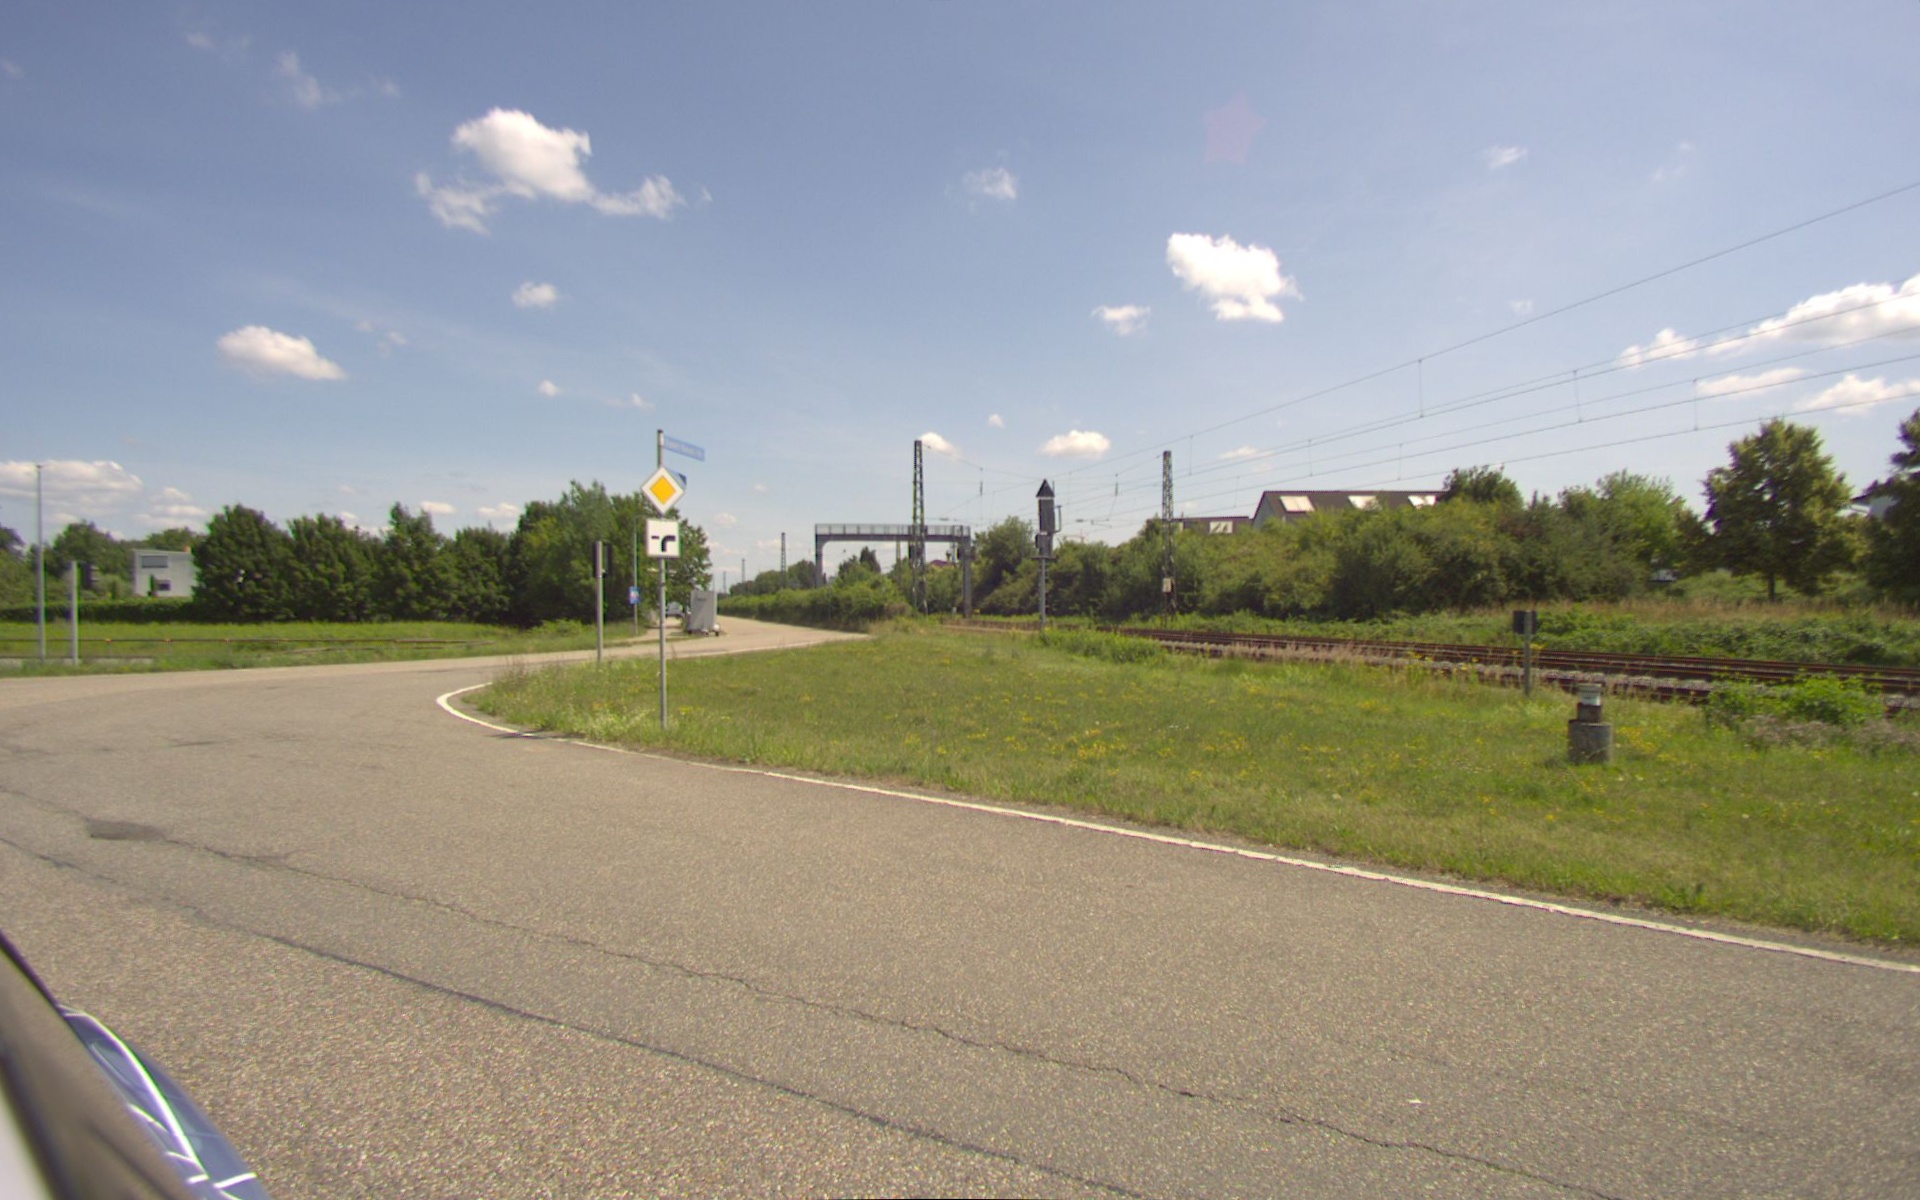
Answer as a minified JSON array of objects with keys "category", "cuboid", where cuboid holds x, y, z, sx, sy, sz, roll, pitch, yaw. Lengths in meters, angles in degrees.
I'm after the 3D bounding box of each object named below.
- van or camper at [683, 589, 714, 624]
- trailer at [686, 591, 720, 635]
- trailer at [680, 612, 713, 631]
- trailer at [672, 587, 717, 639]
[{"category":"van or camper","cuboid":[-22.445,0.524,86.704,2.405,2.848,7.645,1,-1,-16]},{"category":"trailer","cuboid":[-15.871,0.789,62.344,1.892,2.527,4.754,2,-1,-15]},{"category":"trailer","cuboid":[-17.849,1.443,68.638,1.978,1.131,4.500,2,0,-13]},{"category":"trailer","cuboid":[-14.617,0.711,55.873,1.908,2.664,5.194,2,-1,-10]}]
